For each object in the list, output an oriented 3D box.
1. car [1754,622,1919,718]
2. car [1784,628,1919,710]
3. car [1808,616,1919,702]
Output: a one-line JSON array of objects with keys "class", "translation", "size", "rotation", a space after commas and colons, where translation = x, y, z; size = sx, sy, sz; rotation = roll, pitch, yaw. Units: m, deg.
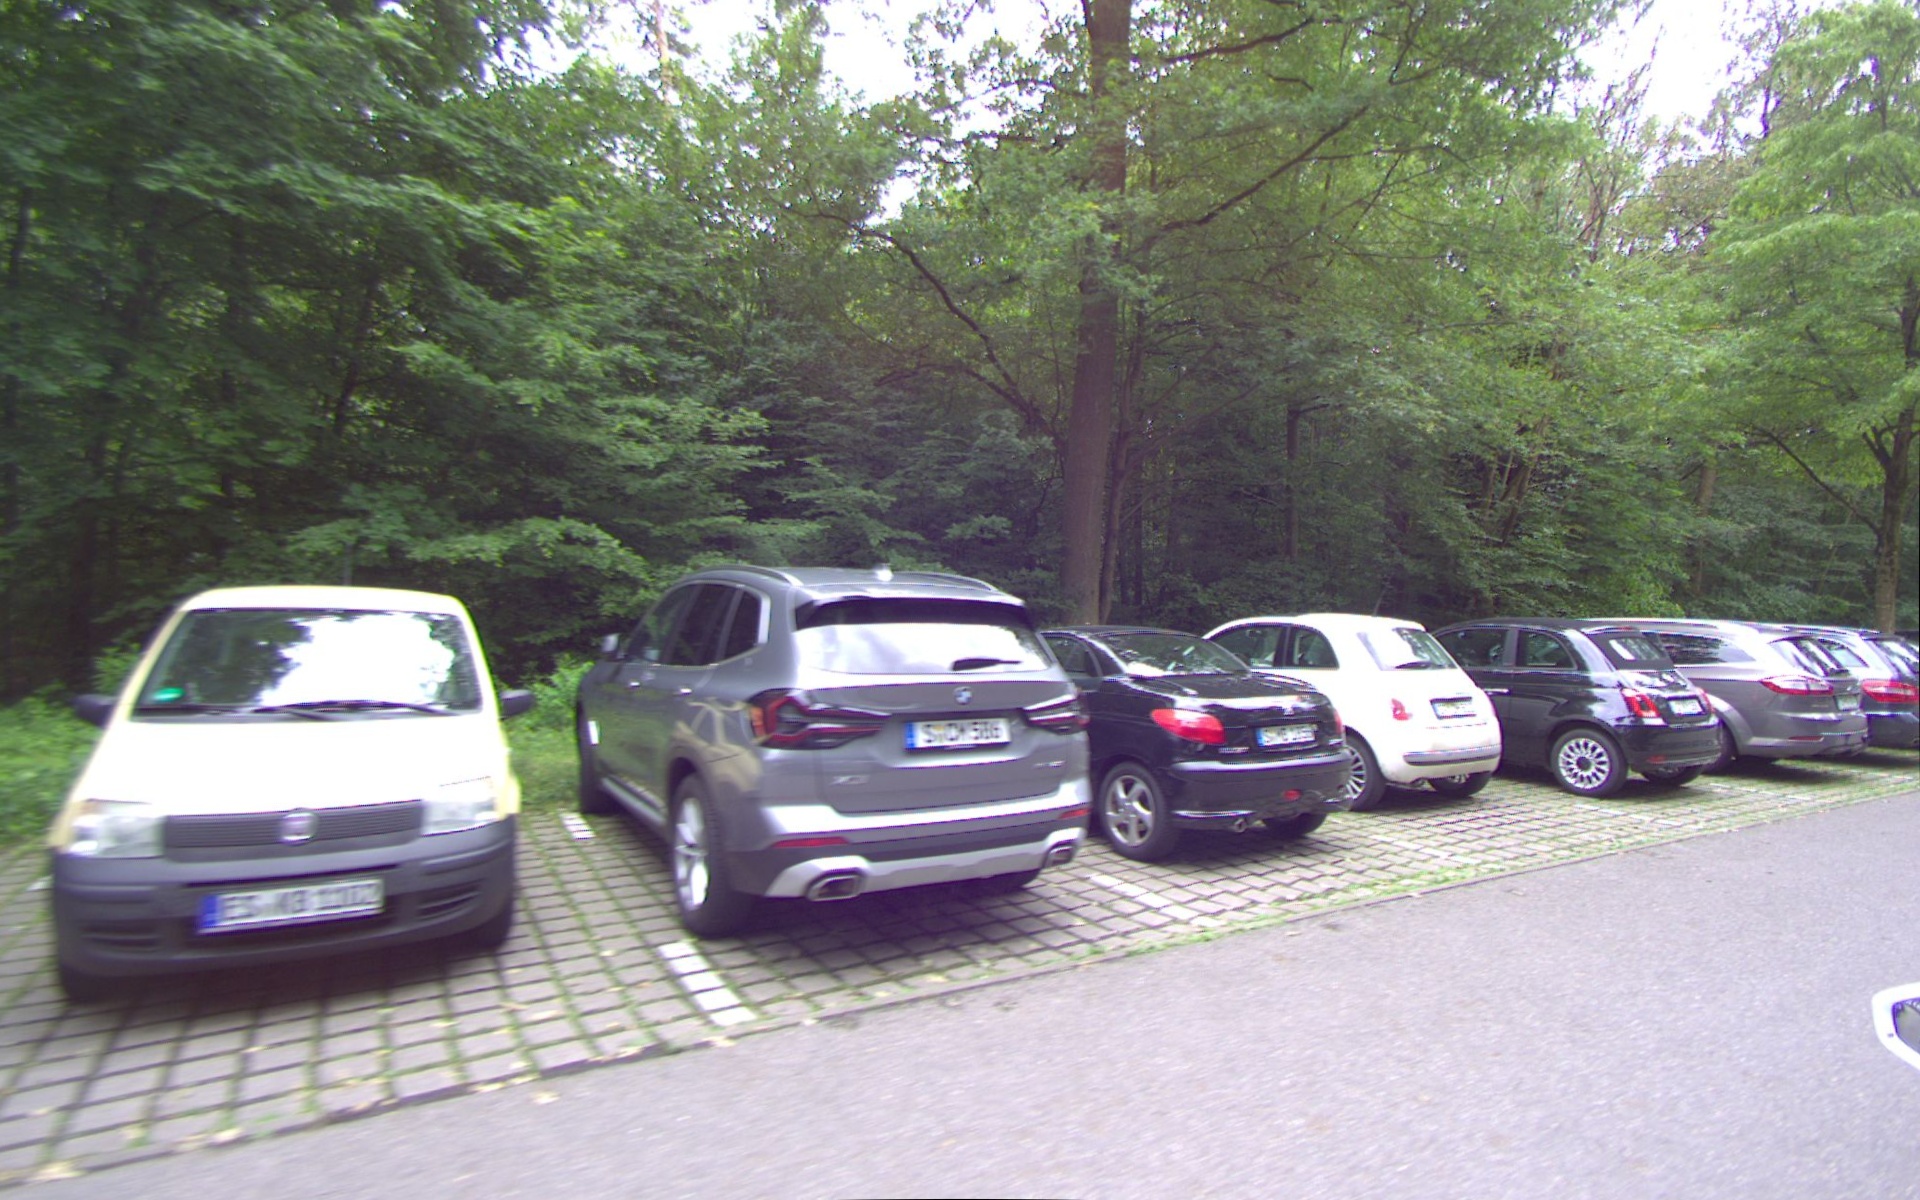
[{"class": "car", "translation": [15.886, 1.153, 16.416], "size": [1.740, 1.468, 4.265], "rotation": [1, 0, -36]}, {"class": "car", "translation": [17.812, 1.260, 17.723], "size": [1.965, 1.361, 4.705], "rotation": [1, 0, -32]}, {"class": "car", "translation": [19.829, 1.194, 19.562], "size": [1.938, 1.616, 4.705], "rotation": [1, 0, -32]}]
